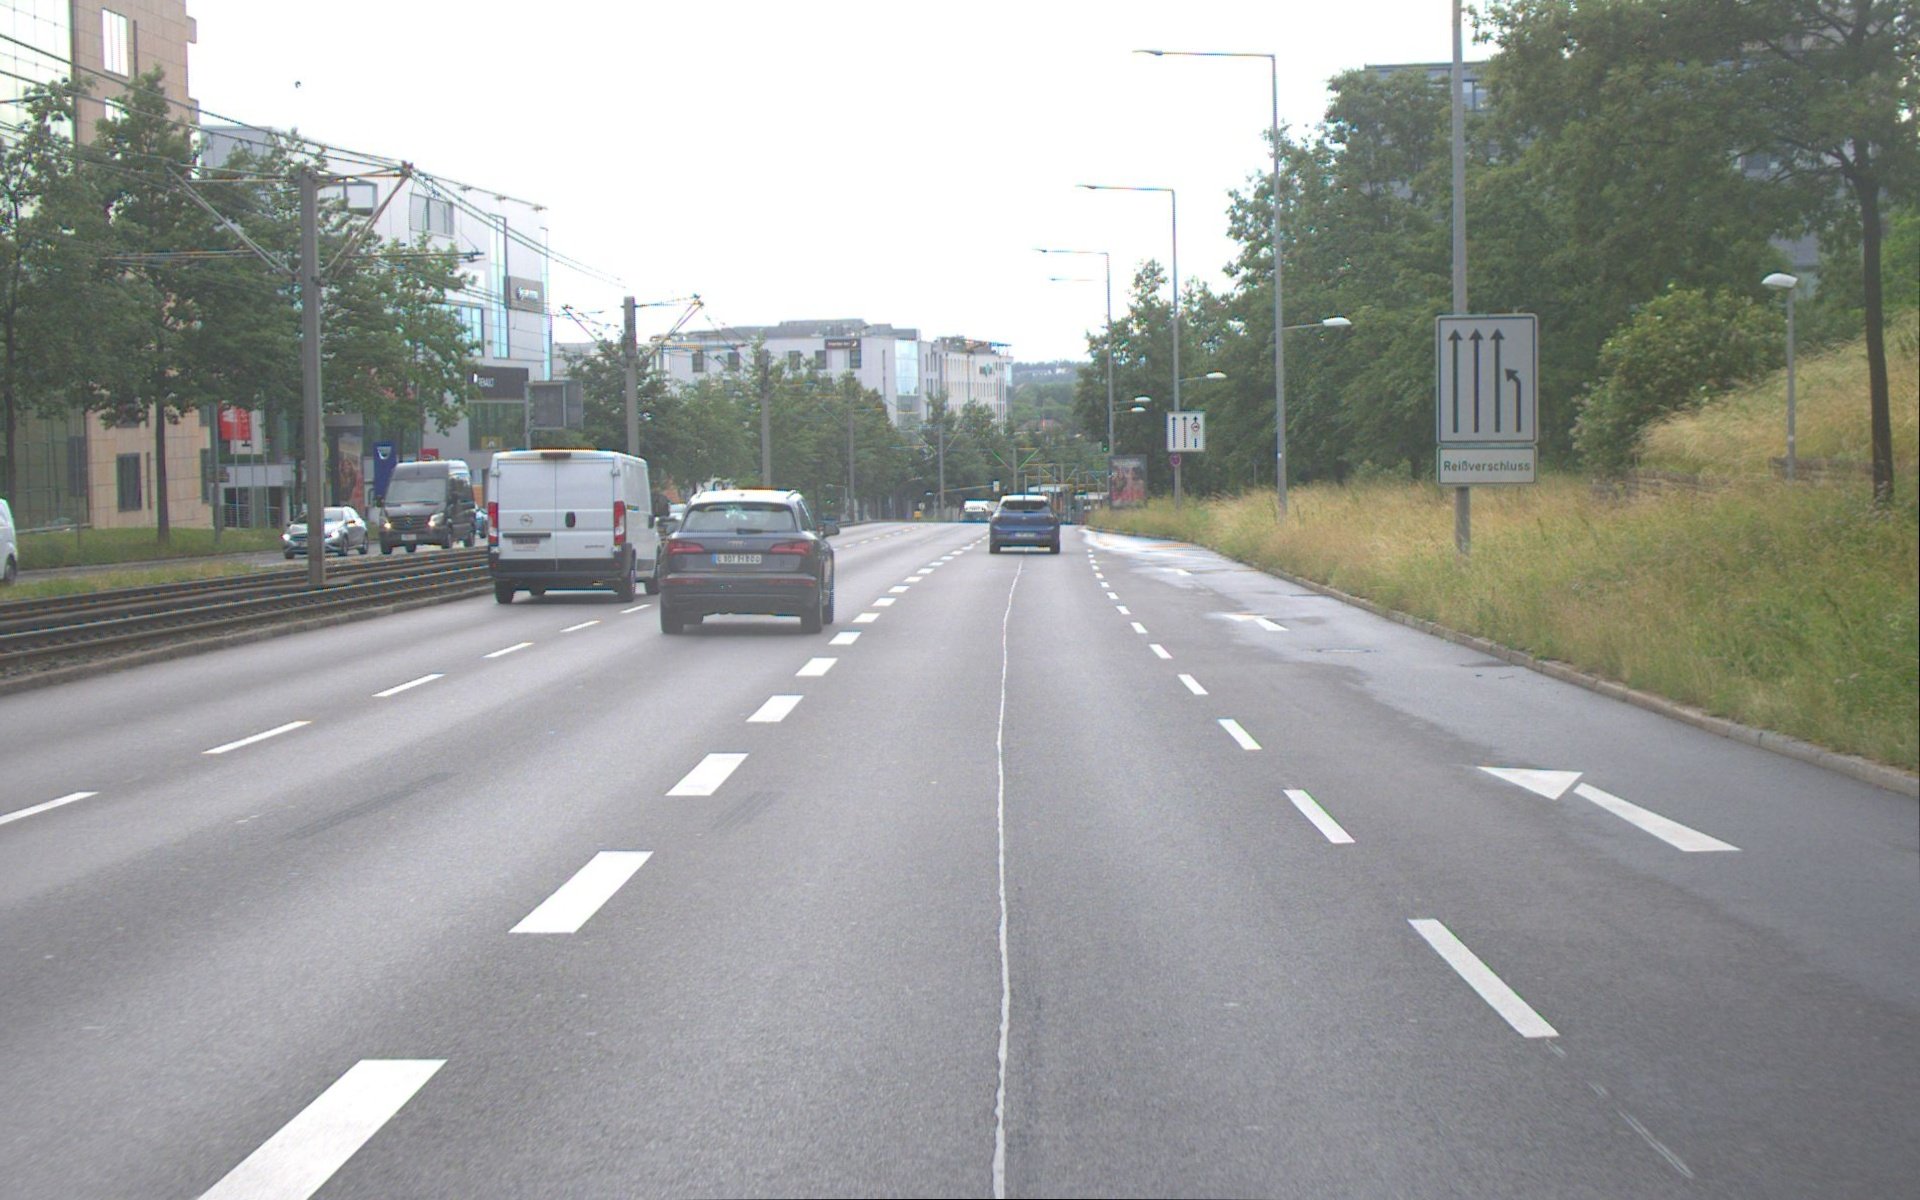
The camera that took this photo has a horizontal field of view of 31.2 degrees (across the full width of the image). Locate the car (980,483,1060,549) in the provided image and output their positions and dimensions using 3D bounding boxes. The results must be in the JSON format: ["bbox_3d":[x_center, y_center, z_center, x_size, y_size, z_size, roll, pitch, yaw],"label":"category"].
[{"bbox_3d":[1.490,-2.108,86.723,1.789,1.585,4.001,-1,1,-1],"label":"car"}]

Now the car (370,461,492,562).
[{"bbox_3d":[-15.132,-2.542,98.586,2.383,2.807,5.611,1,2,3],"label":"car"}]

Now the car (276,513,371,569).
[{"bbox_3d":[-18.511,-1.727,100.158,1.760,1.528,4.817,1,2,2],"label":"car"}]

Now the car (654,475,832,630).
[{"bbox_3d":[-2.496,-0.540,40.410,1.922,1.705,4.098,1,0,-2],"label":"car"}]

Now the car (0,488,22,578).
[{"bbox_3d":[-19.867,-1.292,66.492,1.938,1.755,5.062,1,2,2],"label":"car"}]

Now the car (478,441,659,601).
[{"bbox_3d":[-5.847,-1.212,51.842,2.267,2.277,4.760,1,2,-1],"label":"car"}]
